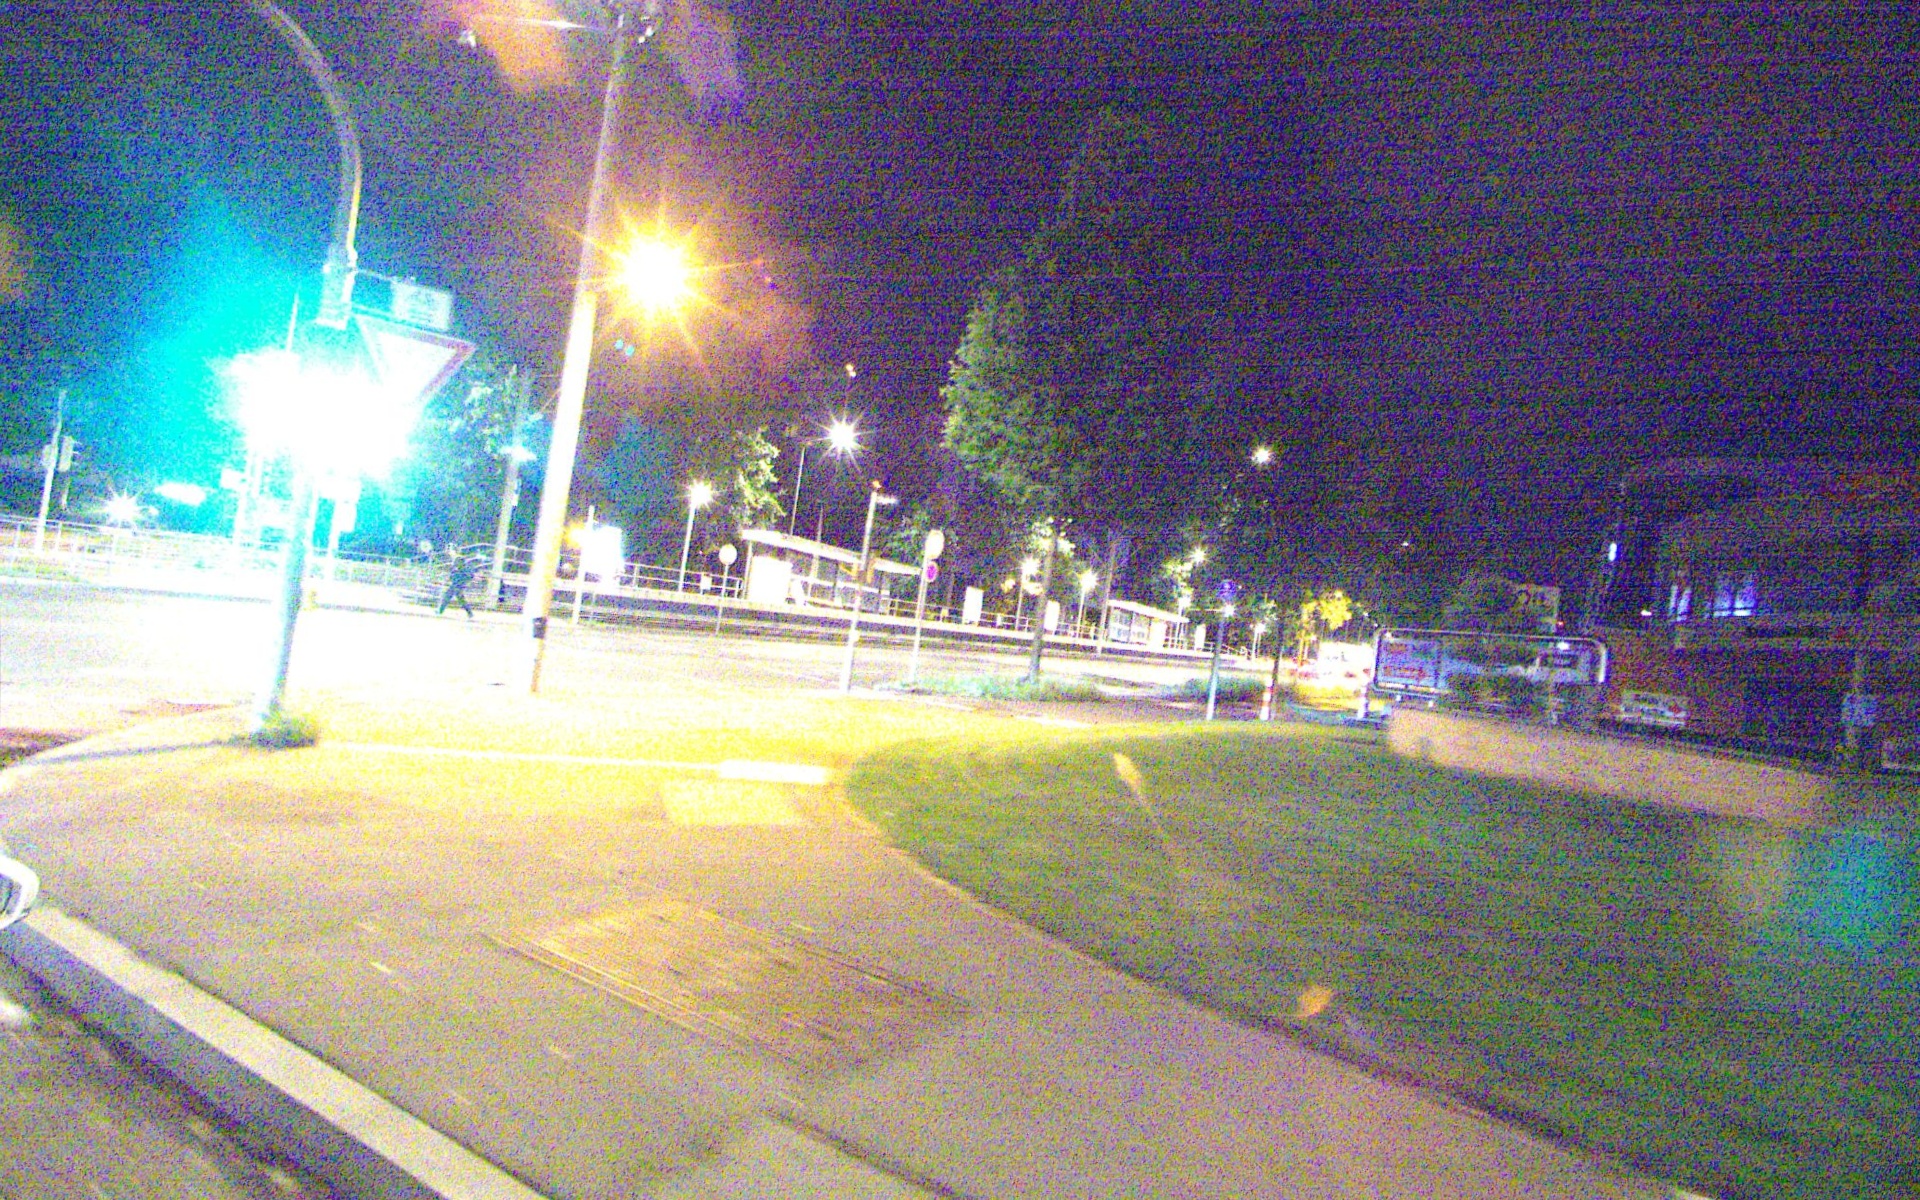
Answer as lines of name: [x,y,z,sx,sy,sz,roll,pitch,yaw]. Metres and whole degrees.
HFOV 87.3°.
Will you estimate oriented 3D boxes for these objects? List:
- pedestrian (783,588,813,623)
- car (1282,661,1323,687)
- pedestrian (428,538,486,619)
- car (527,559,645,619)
pedestrian: [-7.708,0.243,47.800,1.129,1.518,1.073,7,-1,-19]
car: [27.953,6.079,82.041,1.834,1.679,4.450,9,0,34]
pedestrian: [-11.711,-0.497,23.417,0.819,1.767,0.755,8,2,31]
car: [-15.303,-0.420,41.298,1.969,2.039,3.985,6,0,36]
